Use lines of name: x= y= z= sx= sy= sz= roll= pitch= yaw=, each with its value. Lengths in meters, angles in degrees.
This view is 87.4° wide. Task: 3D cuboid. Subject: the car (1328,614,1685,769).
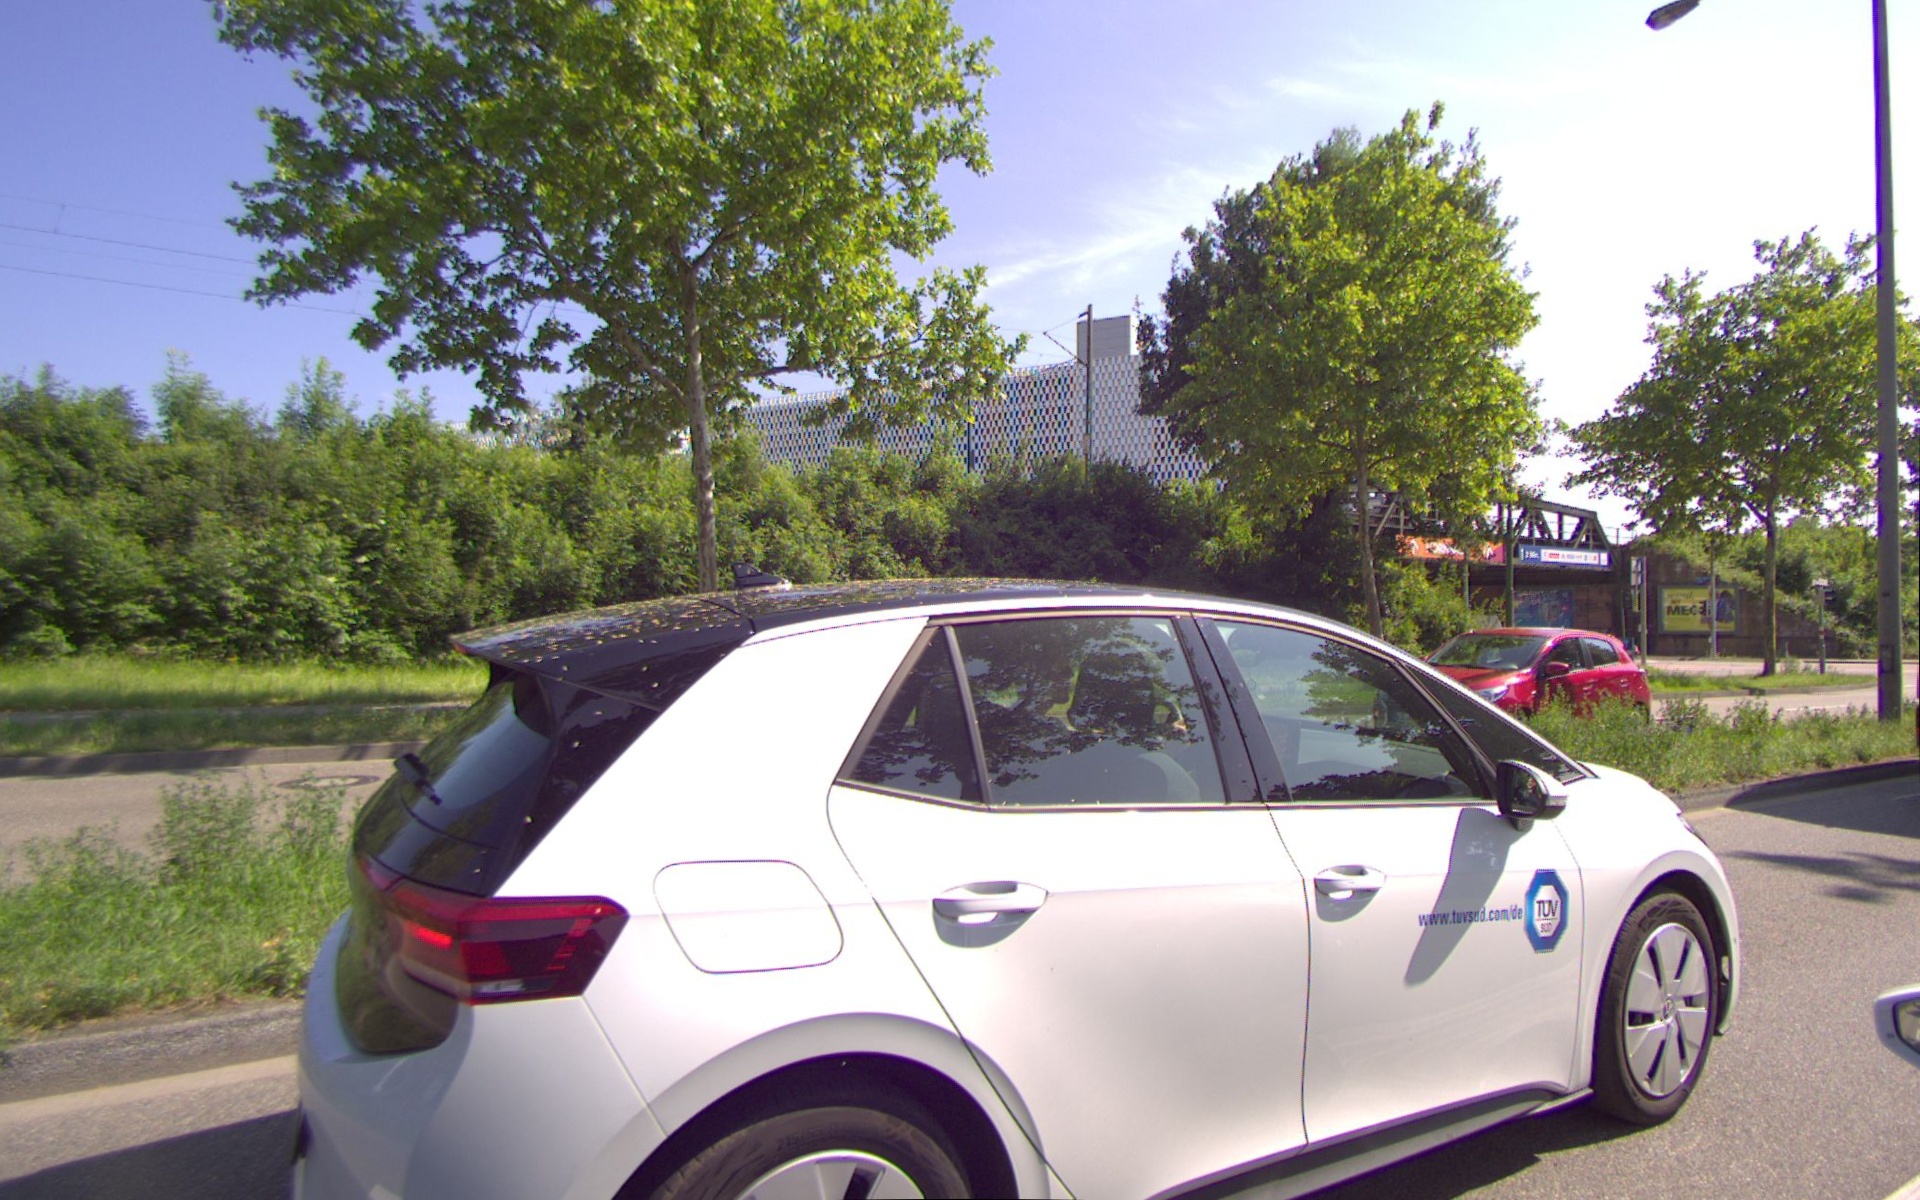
car: x=6.676 y=1.003 z=12.214 sx=4.122 sy=1.604 sz=1.847 roll=1 pitch=-1 yaw=-28

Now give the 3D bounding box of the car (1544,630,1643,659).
car: x=33.156 y=2.324 z=52.696 sx=4.251 sy=1.445 sz=1.485 roll=0 pitch=-2 yaw=27

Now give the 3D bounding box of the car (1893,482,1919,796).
car: x=11.133 y=0.401 z=9.228 sx=6.094 sy=2.642 sz=2.007 roll=2 pitch=0 yaw=-30

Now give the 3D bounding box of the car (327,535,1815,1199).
car: x=0.583 y=0.735 z=3.069 sx=4.158 sy=1.541 sz=1.811 roll=1 pitch=-1 yaw=-30

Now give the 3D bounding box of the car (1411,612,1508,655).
car: x=29.768 y=1.964 z=60.007 sx=5.043 sy=2.450 sz=1.998 roll=1 pitch=-1 yaw=26
